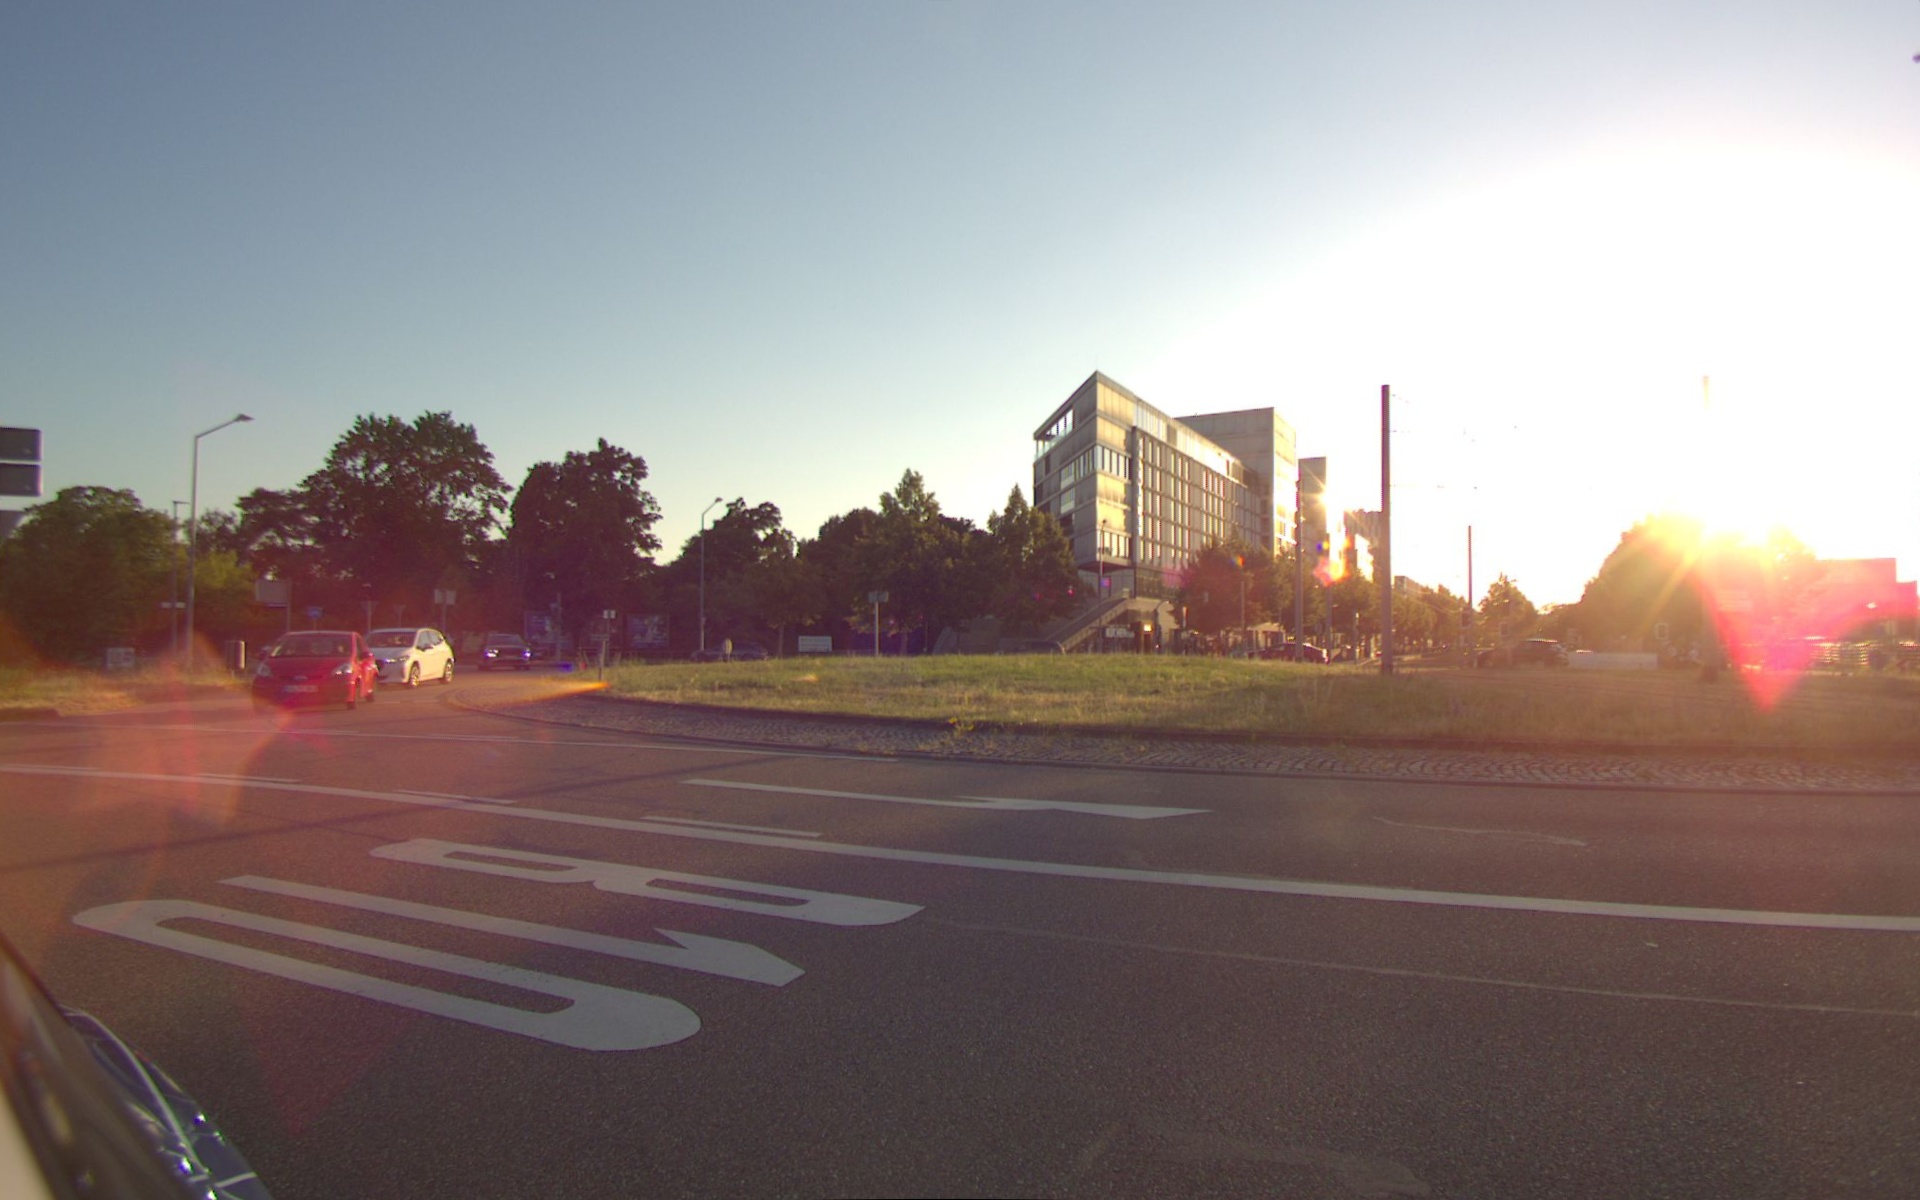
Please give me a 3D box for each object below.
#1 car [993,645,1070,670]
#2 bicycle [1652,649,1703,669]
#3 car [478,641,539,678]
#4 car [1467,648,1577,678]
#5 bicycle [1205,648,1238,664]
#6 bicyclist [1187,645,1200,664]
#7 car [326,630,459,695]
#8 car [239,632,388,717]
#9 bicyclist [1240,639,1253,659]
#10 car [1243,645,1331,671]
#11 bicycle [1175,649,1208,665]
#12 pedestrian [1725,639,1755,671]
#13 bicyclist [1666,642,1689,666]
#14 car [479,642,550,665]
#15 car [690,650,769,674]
[{"bbox_3d":[4.277,3.451,60.617,4.336,1.443,1.946,0,-3,-4],"label":"car"},{"bbox_3d":[43.218,3.531,60.996,0.743,1.176,2.412,3,-3,-42],"label":"bicycle"},{"bbox_3d":[-19.869,2.584,44.687,1.797,1.570,4.226,1,-3,-15],"label":"car"},{"bbox_3d":[27.783,3.085,50.170,1.911,1.443,4.333,1,-3,-31],"label":"car"},{"bbox_3d":[19.886,4.234,76.859,2.389,1.176,0.750,0,-3,18],"label":"bicycle"},{"bbox_3d":[17.484,4.049,75.705,0.873,1.403,0.749,0,-3,20],"label":"bicyclist"},{"bbox_3d":[-14.807,1.600,26.678,1.732,1.570,4.223,0,-2,-10],"label":"car"},{"bbox_3d":[-12.148,1.348,19.284,1.665,1.432,4.224,1,-3,-23],"label":"car"},{"bbox_3d":[22.242,3.772,78.518,0.970,1.537,0.750,0,-3,17],"label":"bicyclist"},{"bbox_3d":[18.741,3.288,57.987,4.570,1.443,1.927,-1,-3,26],"label":"car"},{"bbox_3d":[17.332,4.270,75.739,2.392,1.176,0.749,0,-3,21],"label":"bicycle"},{"bbox_3d":[45.204,3.167,58.659,0.964,1.841,1.164,3,-3,-38],"label":"pedestrian"},{"bbox_3d":[43.216,3.245,60.986,0.743,1.405,0.980,3,-4,-42],"label":"bicyclist"},{"bbox_3d":[-28.286,3.390,64.254,3.712,1.443,1.937,-1,-3,13],"label":"car"},{"bbox_3d":[-13.935,3.742,61.289,4.340,1.443,1.945,0,-3,-1],"label":"car"}]
